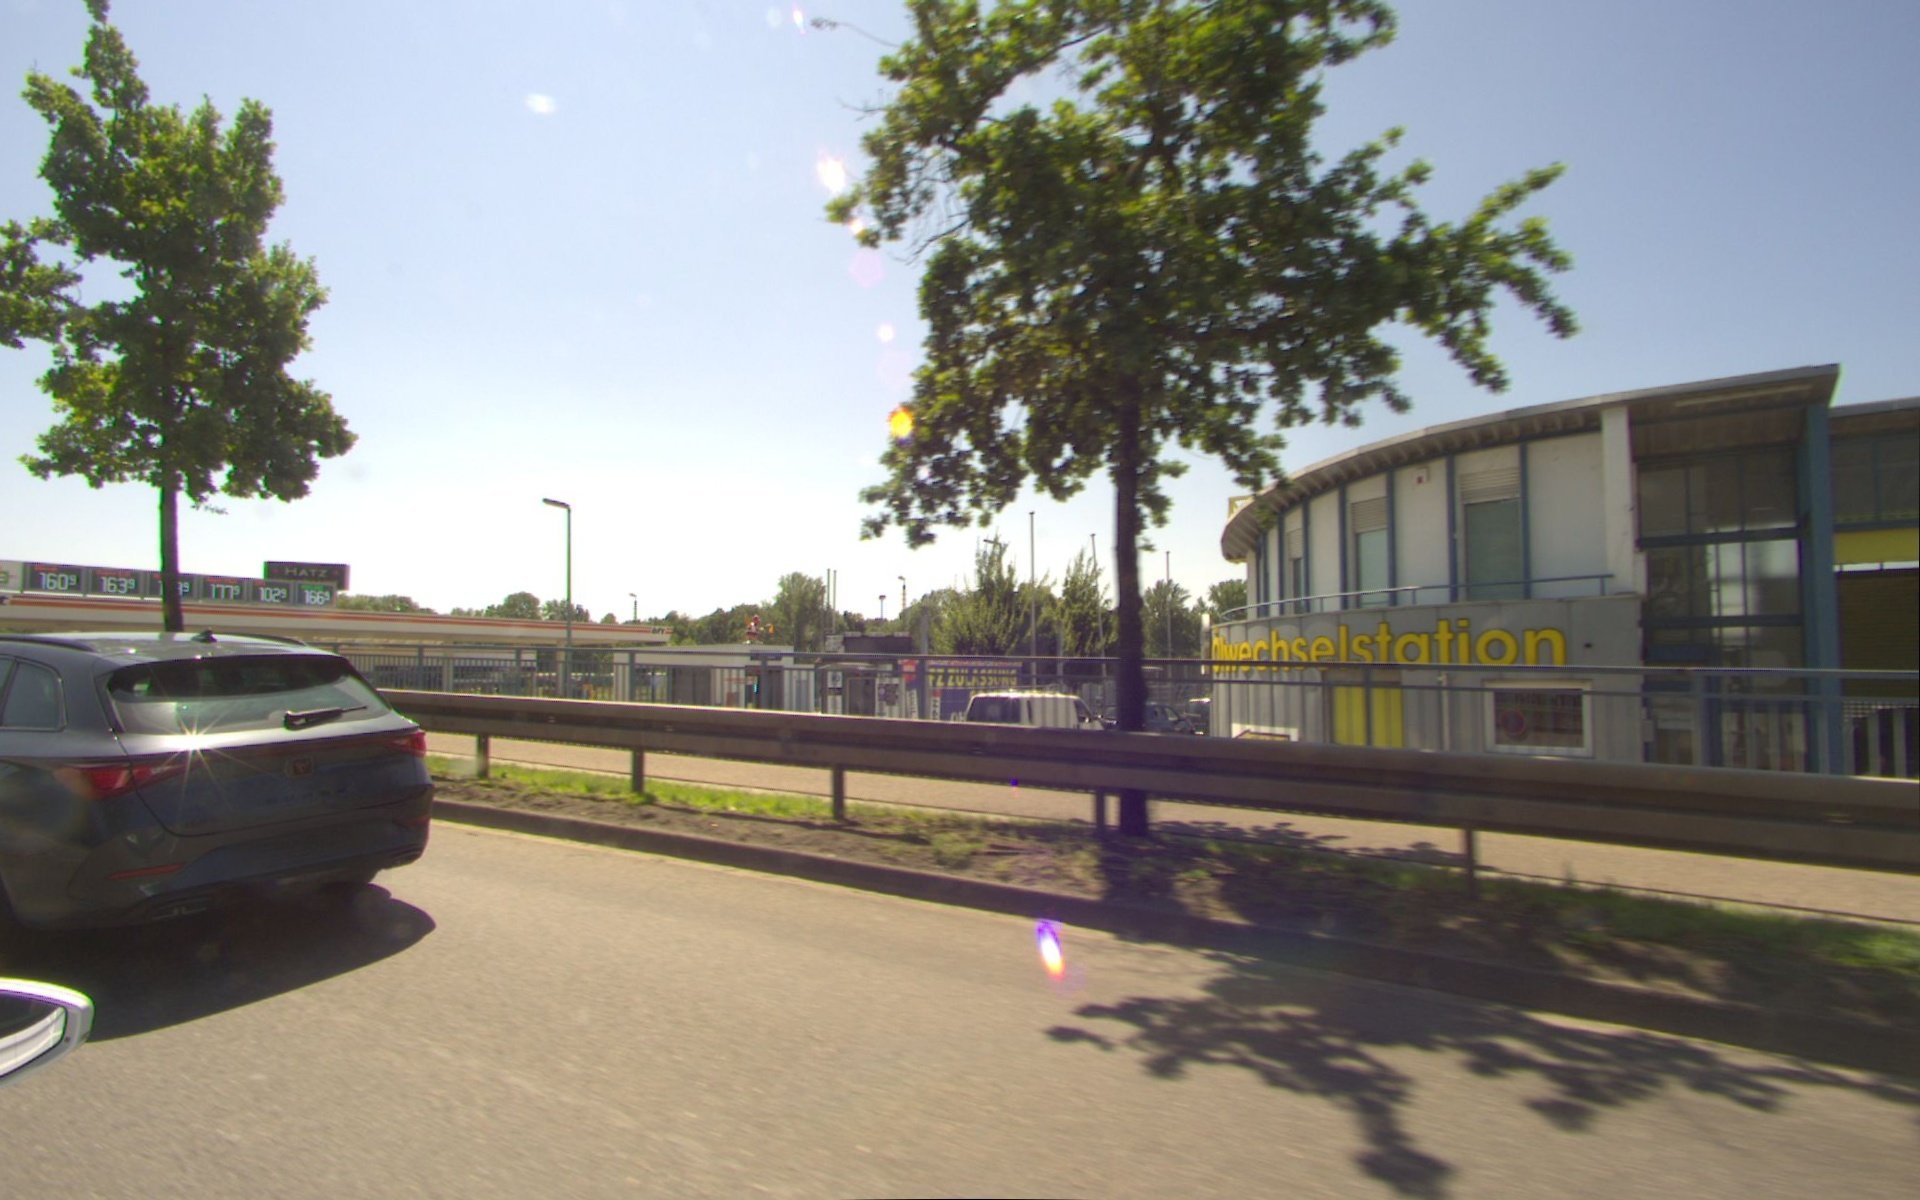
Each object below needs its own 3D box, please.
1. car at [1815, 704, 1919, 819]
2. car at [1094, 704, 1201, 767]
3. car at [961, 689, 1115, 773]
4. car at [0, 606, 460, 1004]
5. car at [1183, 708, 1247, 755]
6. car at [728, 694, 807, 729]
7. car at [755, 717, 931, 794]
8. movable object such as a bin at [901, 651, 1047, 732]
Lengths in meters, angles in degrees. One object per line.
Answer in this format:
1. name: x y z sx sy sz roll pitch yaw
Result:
1. car: 16.630 2.783 17.781 1.627 1.704 3.663 -2 -4 32
2. car: 5.500 3.864 29.019 1.452 1.492 4.124 -2 -4 35
3. car: 1.978 3.030 23.959 1.575 1.680 4.584 -2 -4 35
4. car: -4.791 0.870 5.441 4.171 1.473 1.604 -2 -3 28
5. car: 8.536 4.356 33.432 1.207 1.367 2.698 -2 -4 35
6. car: -6.500 3.749 33.798 2.522 1.092 1.105 -2 -3 30
7. car: -2.209 2.992 19.484 3.253 1.325 1.466 0 -3 -1
8. movable object such as a bin: 1.031 4.581 51.961 2.990 3.752 11.045 -2 -4 27
